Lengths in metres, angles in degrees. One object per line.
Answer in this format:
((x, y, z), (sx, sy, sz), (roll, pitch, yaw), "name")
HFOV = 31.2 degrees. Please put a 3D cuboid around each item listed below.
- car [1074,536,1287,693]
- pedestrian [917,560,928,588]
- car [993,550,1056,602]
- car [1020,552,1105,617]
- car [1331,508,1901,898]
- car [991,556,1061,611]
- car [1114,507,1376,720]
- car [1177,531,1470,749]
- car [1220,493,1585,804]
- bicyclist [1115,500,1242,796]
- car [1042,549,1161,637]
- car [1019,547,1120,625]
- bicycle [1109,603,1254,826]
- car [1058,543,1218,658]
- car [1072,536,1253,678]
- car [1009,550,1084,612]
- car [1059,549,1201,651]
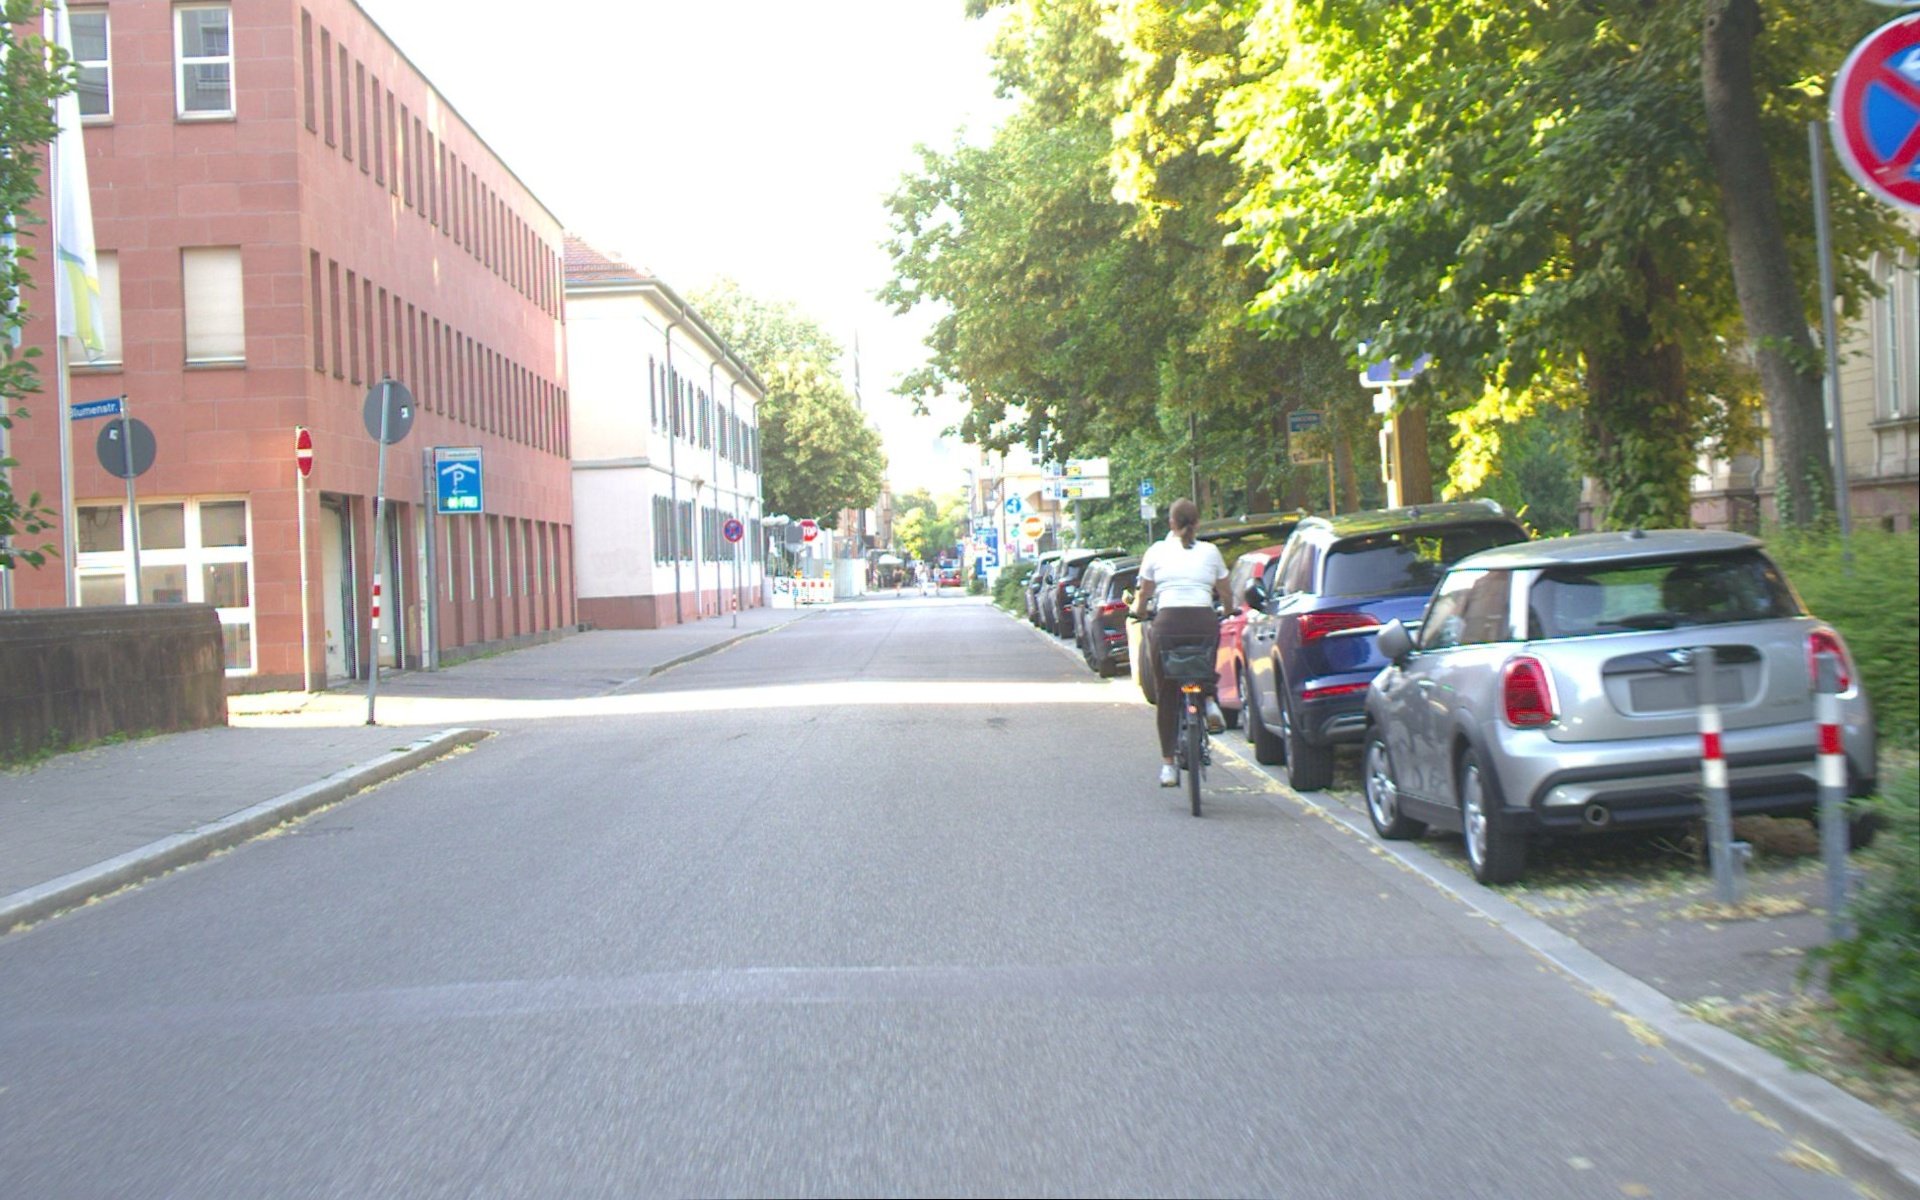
((2.438, 0.128, 38.926), (1.993, 1.590, 4.000), (-3, 1, -1), "car")
((-2.004, -1.380, 183.540), (0.534, 1.467, 0.449), (-3, 1, -2), "pedestrian")
((2.867, -1.092, 153.993), (2.493, 2.188, 4.910), (-3, 1, -1), "car")
((2.740, -0.435, 92.706), (1.993, 1.623, 4.000), (-3, 1, -1), "car")
((2.857, 0.421, 15.751), (1.685, 1.442, 3.672), (-5, 0, -2), "car")
((2.379, -0.611, 125.624), (2.281, 1.847, 4.910), (-3, 1, -1), "car")
((2.630, 0.096, 32.653), (1.993, 1.809, 4.000), (-3, 1, -1), "car")
((2.828, 0.273, 27.555), (1.715, 1.532, 4.049), (-3, 1, -2), "car")
((2.718, 0.248, 22.049), (1.715, 1.706, 4.473), (-3, 1, 0), "car")
((1.249, 0.265, 19.803), (0.639, 1.661, 0.843), (-1, 1, -2), "bicyclist")
((2.728, -0.154, 67.179), (1.993, 1.579, 4.000), (-3, 1, -1), "car")
((2.450, -0.330, 77.665), (1.993, 1.623, 4.000), (-3, 1, -1), "car")
((1.255, 0.629, 19.757), (0.638, 1.189, 1.876), (-1, 1, -2), "bicycle")
((2.586, -0.018, 50.852), (1.993, 1.525, 4.000), (-3, 1, -1), "car")
((2.616, 0.062, 45.348), (1.993, 1.700, 4.000), (-3, 1, -1), "car")
((2.580, -0.591, 103.489), (1.993, 1.743, 4.000), (-3, 1, -1), "car")
((2.761, -0.021, 56.731), (1.993, 1.525, 4.000), (-3, 1, -1), "car")
